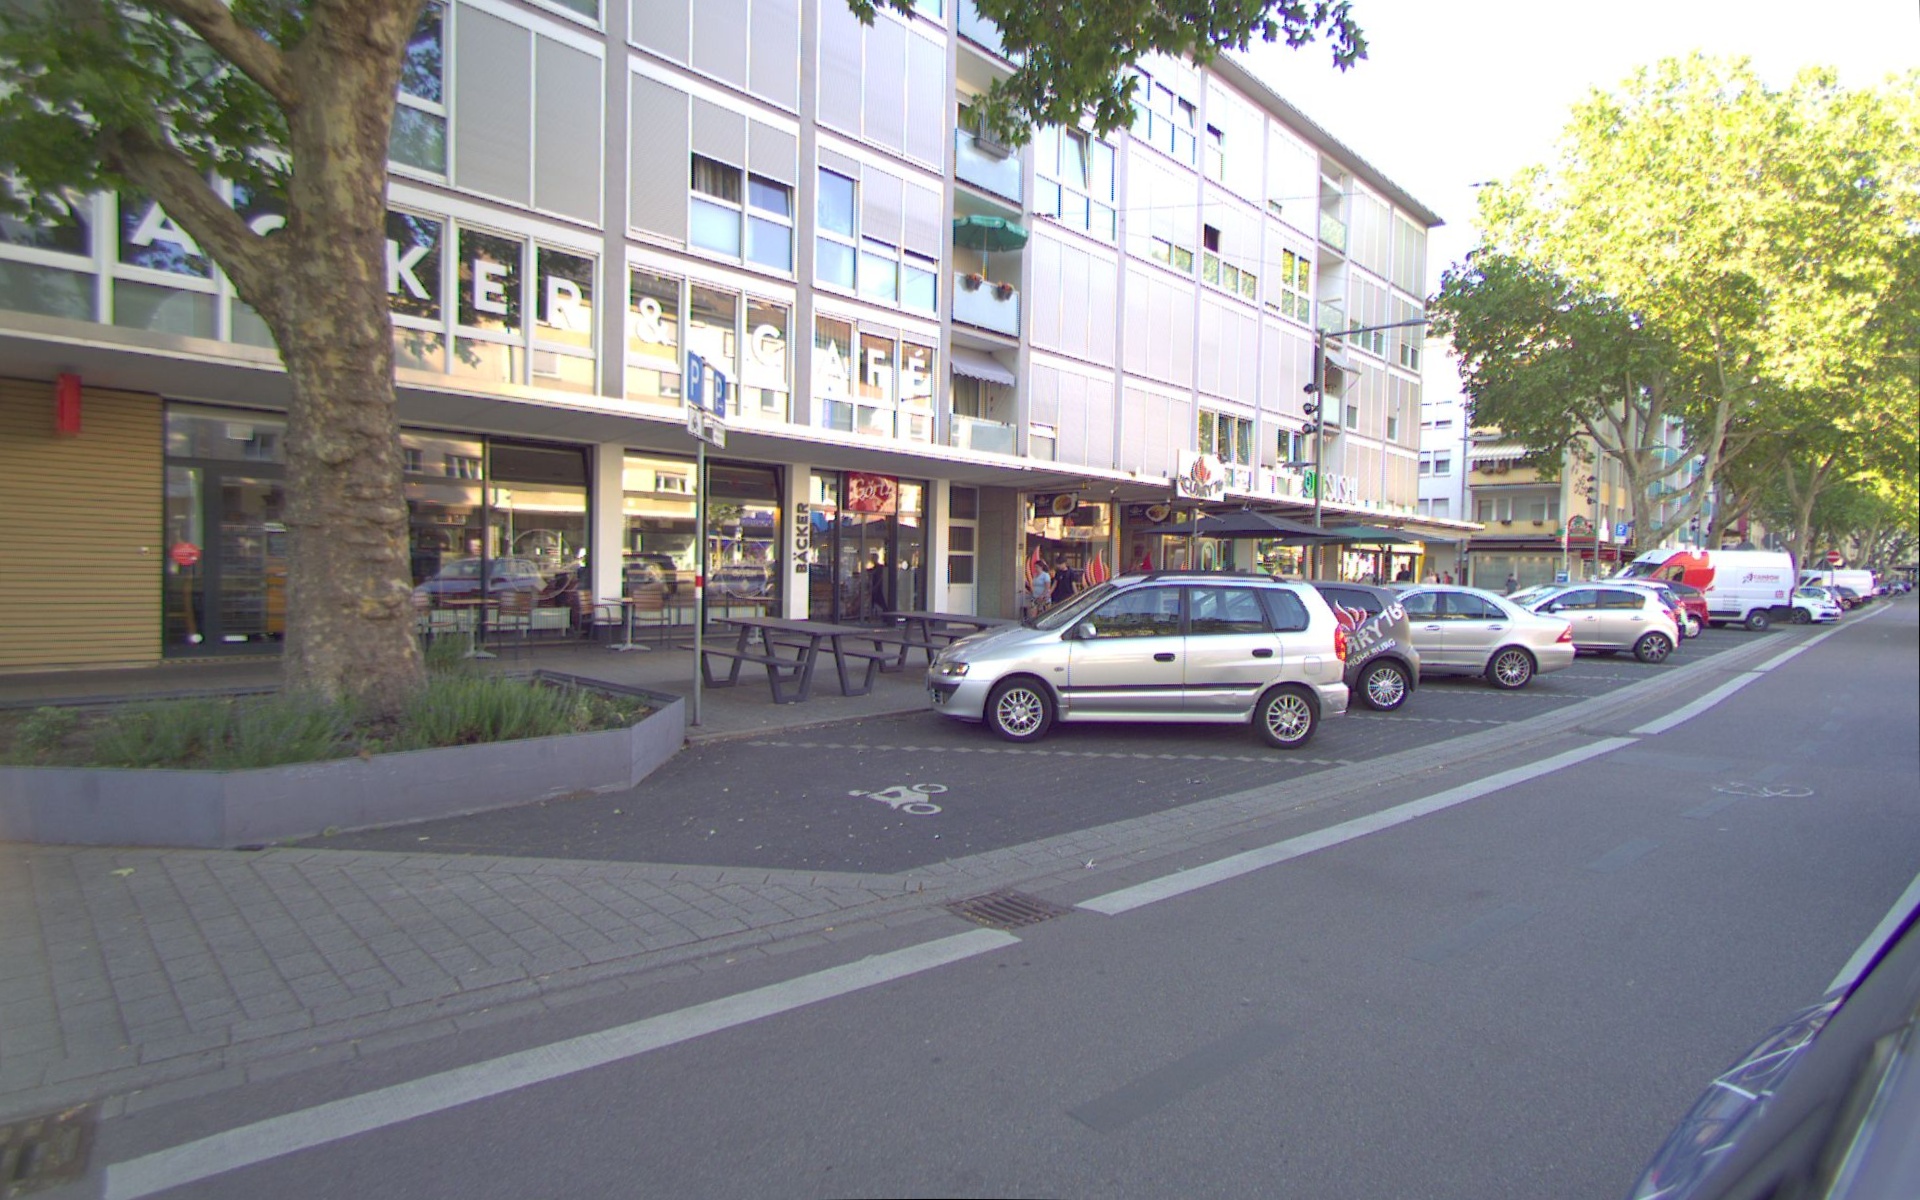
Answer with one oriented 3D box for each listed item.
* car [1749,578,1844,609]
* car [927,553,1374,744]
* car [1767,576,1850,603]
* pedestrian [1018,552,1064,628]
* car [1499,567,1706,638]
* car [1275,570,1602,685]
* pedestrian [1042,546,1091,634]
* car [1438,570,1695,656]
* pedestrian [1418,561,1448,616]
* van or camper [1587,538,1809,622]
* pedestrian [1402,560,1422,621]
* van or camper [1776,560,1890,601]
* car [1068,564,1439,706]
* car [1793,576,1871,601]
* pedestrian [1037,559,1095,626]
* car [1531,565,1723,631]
[{"bbox_3d":[41.927,-0.349,50.776,3.271,1.363,1.530,2,3,5],"label":"car"},{"bbox_3d":[1.677,0.408,9.887,3.921,1.626,1.811,1,2,-3],"label":"car"},{"bbox_3d":[48.504,-0.630,57.890,3.271,1.363,1.530,2,3,5],"label":"car"},{"bbox_3d":[1.574,-0.206,19.644,0.537,1.417,0.676,5,4,44],"label":"pedestrian"},{"bbox_3d":[15.799,0.022,25.060,3.929,1.541,1.659,2,3,5],"label":"car"},{"bbox_3d":[6.872,0.356,14.854,3.926,1.453,1.660,1,3,2],"label":"car"},{"bbox_3d":[2.006,-0.194,19.076,0.537,1.610,0.676,5,4,44],"label":"pedestrian"},{"bbox_3d":[11.793,0.216,19.903,3.929,1.453,1.659,2,3,5],"label":"car"},{"bbox_3d":[14.323,-0.365,30.664,0.537,1.610,0.676,5,4,44],"label":"pedestrian"},{"bbox_3d":[23.374,-0.665,32.233,5.366,2.499,1.998,1,2,5],"label":"van or camper"},{"bbox_3d":[15.173,-0.327,33.977,0.547,2.039,0.571,0,0,31],"label":"pedestrian"},{"bbox_3d":[56.170,-1.297,65.183,5.363,2.499,1.999,1,2,3],"label":"van or camper"},{"bbox_3d":[3.439,0.374,12.386,3.921,1.525,1.811,1,2,-3],"label":"car"},{"bbox_3d":[53.881,-0.725,62.571,3.271,1.363,1.530,2,3,5],"label":"car"},{"bbox_3d":[2.247,-0.179,21.469,0.945,1.379,0.750,0,2,-41],"label":"pedestrian"},{"bbox_3d":[17.945,-0.083,27.384,3.929,1.582,1.659,2,3,5],"label":"car"}]
